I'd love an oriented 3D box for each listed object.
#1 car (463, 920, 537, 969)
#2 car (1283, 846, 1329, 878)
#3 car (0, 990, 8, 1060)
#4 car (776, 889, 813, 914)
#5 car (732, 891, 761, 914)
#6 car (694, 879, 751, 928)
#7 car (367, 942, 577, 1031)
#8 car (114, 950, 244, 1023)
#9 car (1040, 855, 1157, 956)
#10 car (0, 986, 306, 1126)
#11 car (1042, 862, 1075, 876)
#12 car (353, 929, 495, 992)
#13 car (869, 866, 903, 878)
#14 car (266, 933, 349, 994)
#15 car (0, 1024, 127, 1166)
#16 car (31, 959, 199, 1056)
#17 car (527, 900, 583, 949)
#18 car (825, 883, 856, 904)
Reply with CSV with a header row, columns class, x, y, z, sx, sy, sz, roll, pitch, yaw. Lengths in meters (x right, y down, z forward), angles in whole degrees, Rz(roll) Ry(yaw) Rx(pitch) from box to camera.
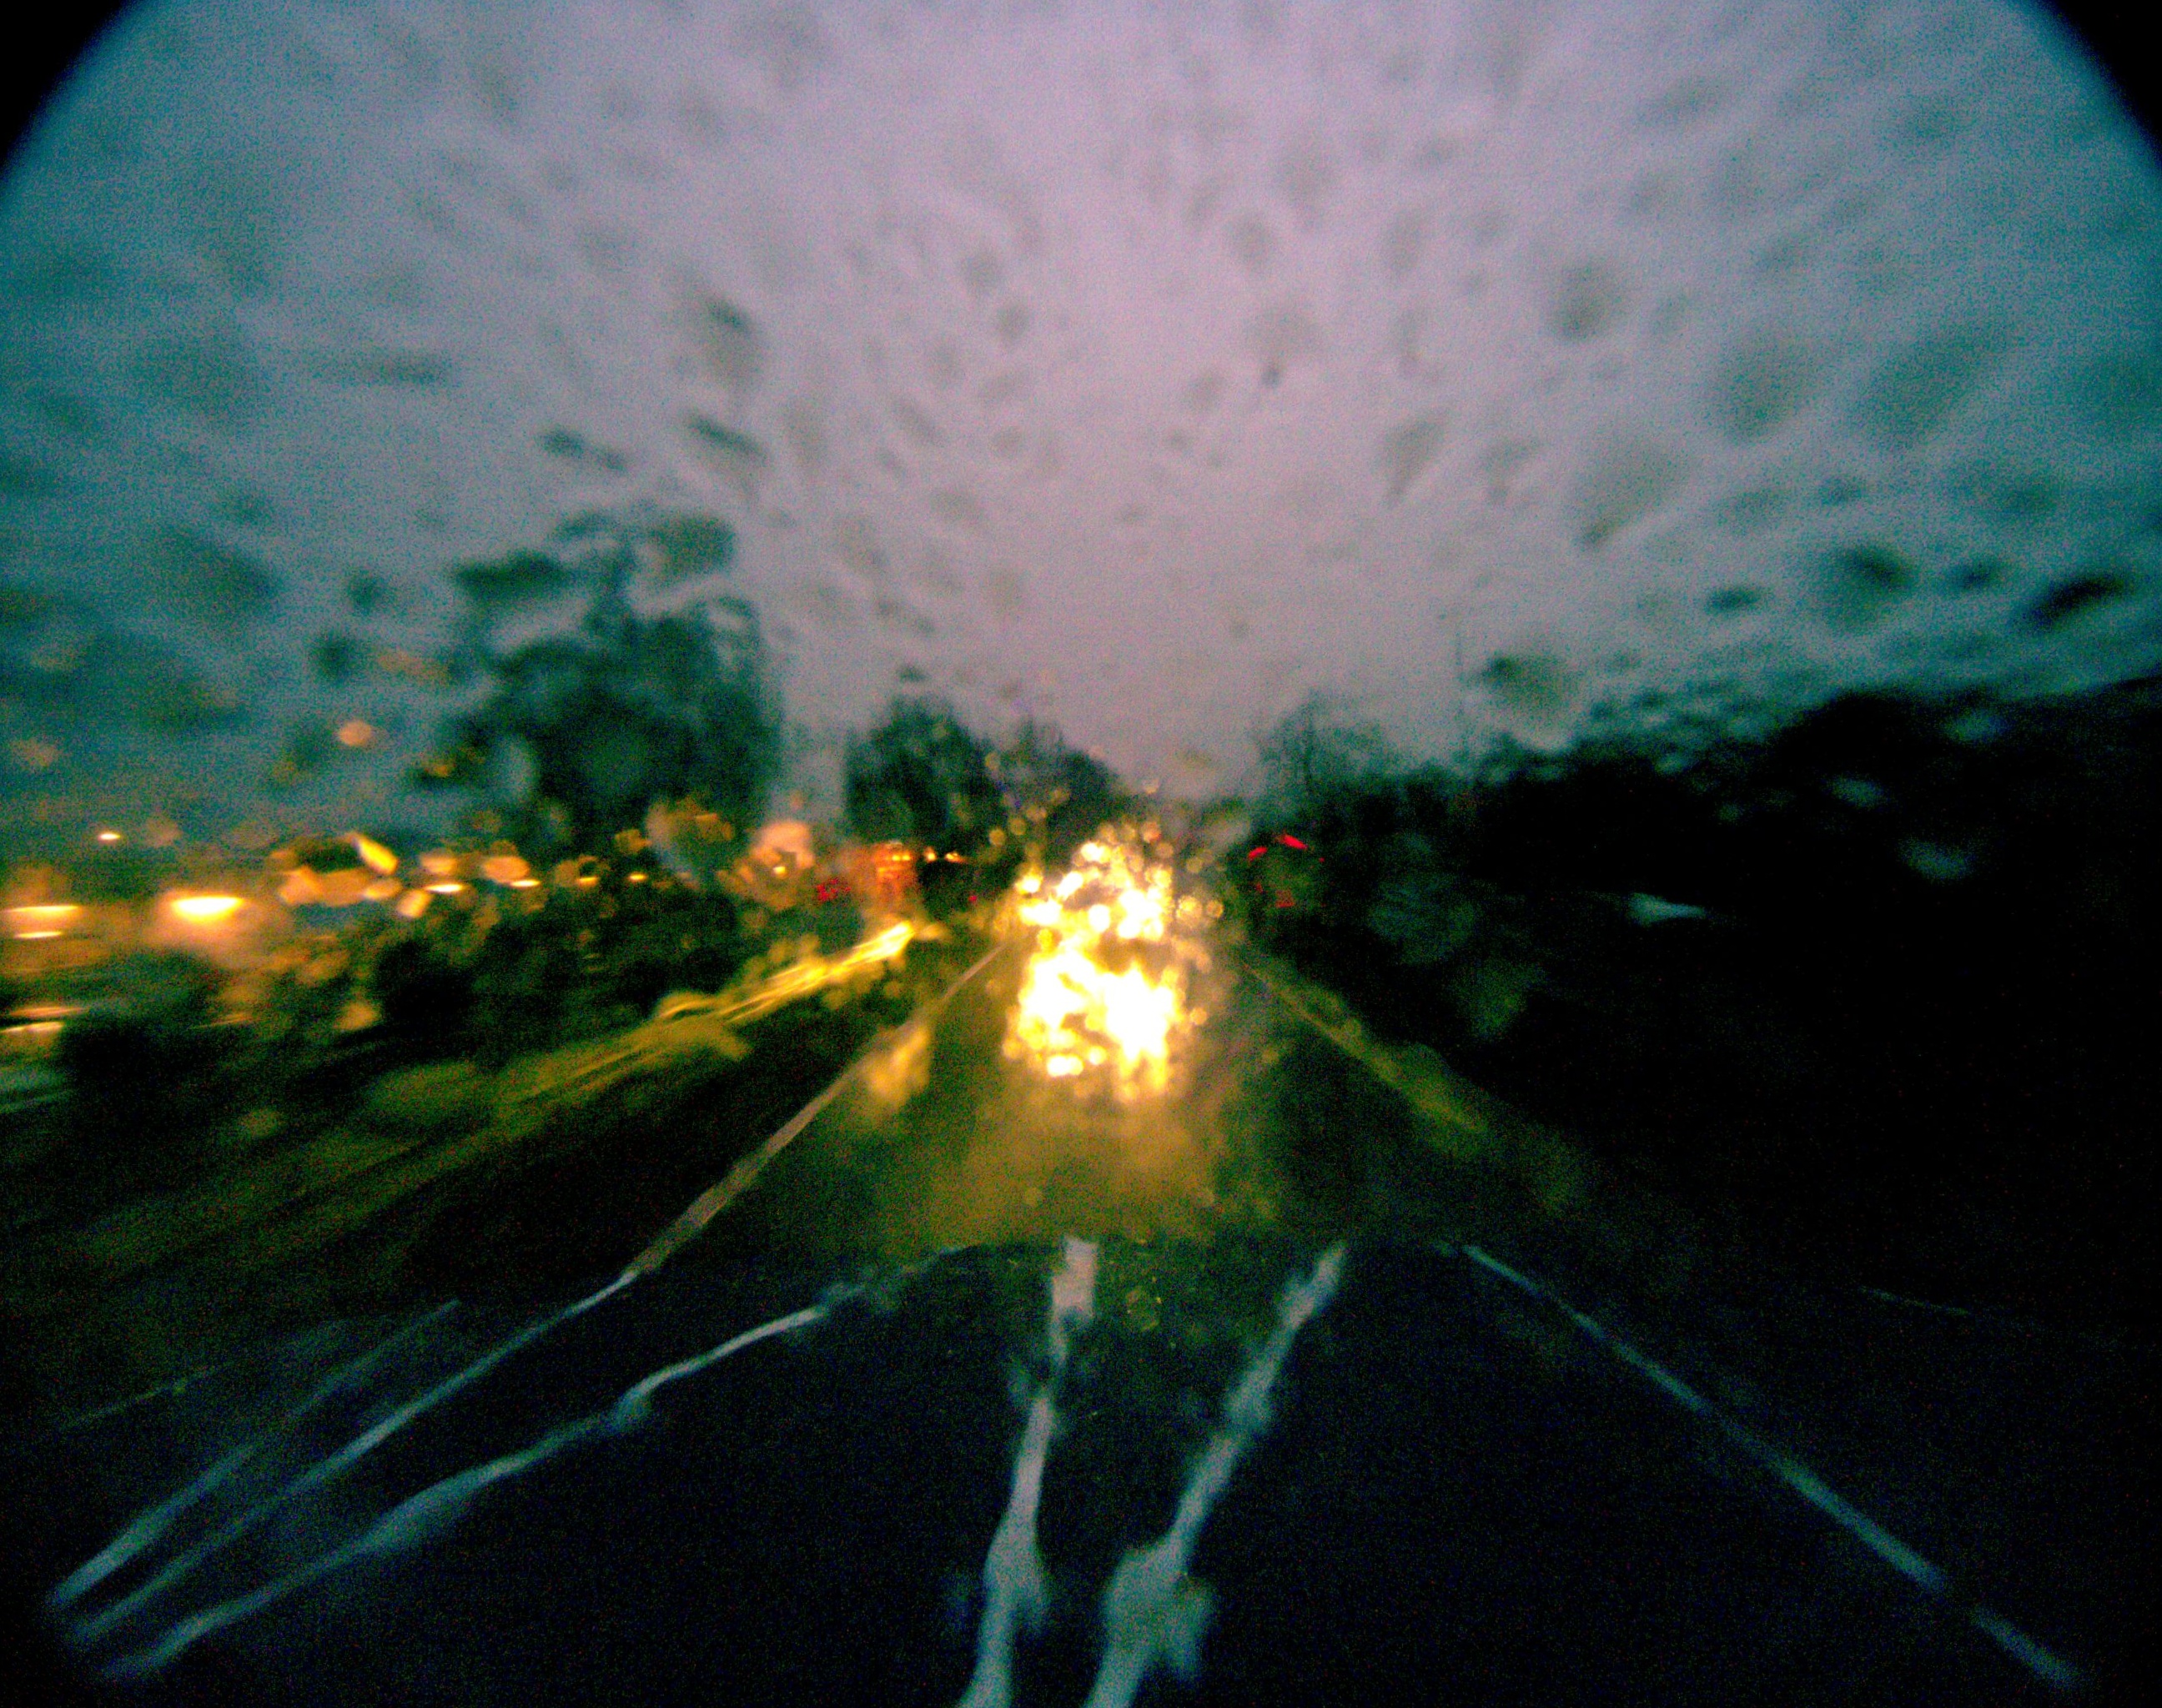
class,x,y,z,sx,sy,sz,roll,pitch,yaw
car,-22.403,3.442,29.274,3.249,1.508,1.723,-3,1,44
car,12.252,0.377,41.620,1.697,1.569,3.886,-2,1,6
car,-23.461,3.781,14.701,1.809,1.526,4.532,-3,1,-38
car,-18.955,3.092,50.152,1.717,1.404,4.005,-2,1,-28
car,-22.636,3.257,51.376,1.531,1.330,3.580,-2,1,-28
car,-20.535,2.738,43.386,2.284,2.426,5.227,-2,1,-31
car,-14.670,3.136,18.616,1.771,1.421,3.813,-2,1,6
car,-26.712,3.843,22.650,1.730,1.493,4.016,-3,0,-39
car,0.330,0.846,14.596,1.809,1.452,4.245,-4,1,1
car,-15.530,3.208,12.138,4.188,1.388,1.846,-2,1,-40
car,-2.835,1.937,97.287,4.010,1.588,1.806,-2,1,2
car,-21.585,3.439,25.034,1.388,1.526,3.264,-3,1,40
car,-26.674,2.452,104.043,4.009,1.588,1.807,-2,1,5
car,-26.723,3.704,26.212,3.969,1.586,1.805,-2,0,43
car,-15.709,3.287,9.240,4.712,1.388,1.900,-2,1,-33
car,-23.420,3.623,18.617,1.830,1.629,4.459,-3,-1,-43
car,-25.303,3.308,36.476,1.891,1.946,4.948,-4,0,-37
car,-18.272,2.980,57.679,1.531,1.330,3.580,-2,1,-28
